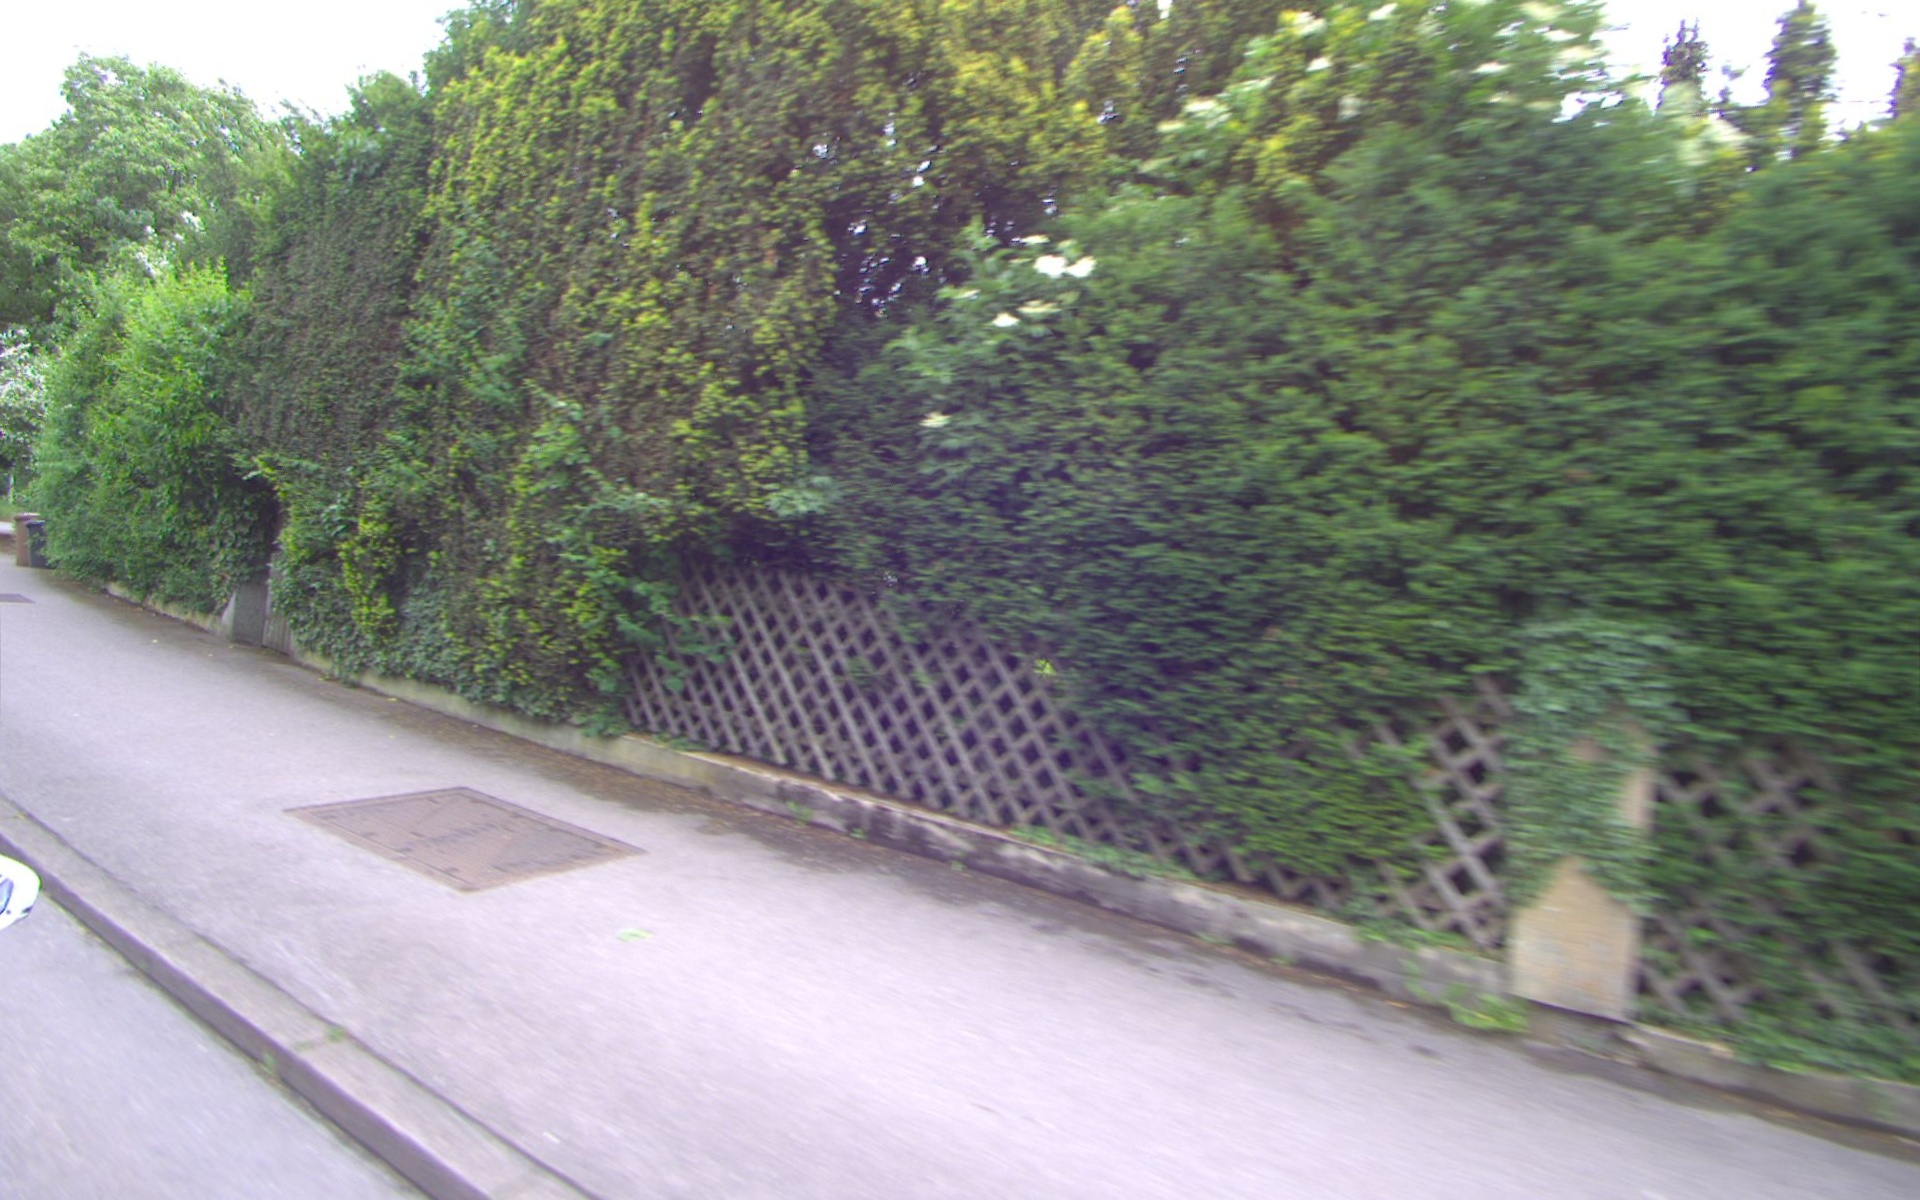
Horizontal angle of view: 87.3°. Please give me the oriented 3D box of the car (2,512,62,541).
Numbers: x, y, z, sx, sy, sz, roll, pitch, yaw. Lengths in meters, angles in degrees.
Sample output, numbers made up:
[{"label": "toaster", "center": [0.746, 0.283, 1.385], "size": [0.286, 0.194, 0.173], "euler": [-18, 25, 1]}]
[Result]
[{"label": "car", "center": [-60.979, -4.802, 66.184], "size": [1.977, 1.504, 3.970], "euler": [6, -1, -30]}]
